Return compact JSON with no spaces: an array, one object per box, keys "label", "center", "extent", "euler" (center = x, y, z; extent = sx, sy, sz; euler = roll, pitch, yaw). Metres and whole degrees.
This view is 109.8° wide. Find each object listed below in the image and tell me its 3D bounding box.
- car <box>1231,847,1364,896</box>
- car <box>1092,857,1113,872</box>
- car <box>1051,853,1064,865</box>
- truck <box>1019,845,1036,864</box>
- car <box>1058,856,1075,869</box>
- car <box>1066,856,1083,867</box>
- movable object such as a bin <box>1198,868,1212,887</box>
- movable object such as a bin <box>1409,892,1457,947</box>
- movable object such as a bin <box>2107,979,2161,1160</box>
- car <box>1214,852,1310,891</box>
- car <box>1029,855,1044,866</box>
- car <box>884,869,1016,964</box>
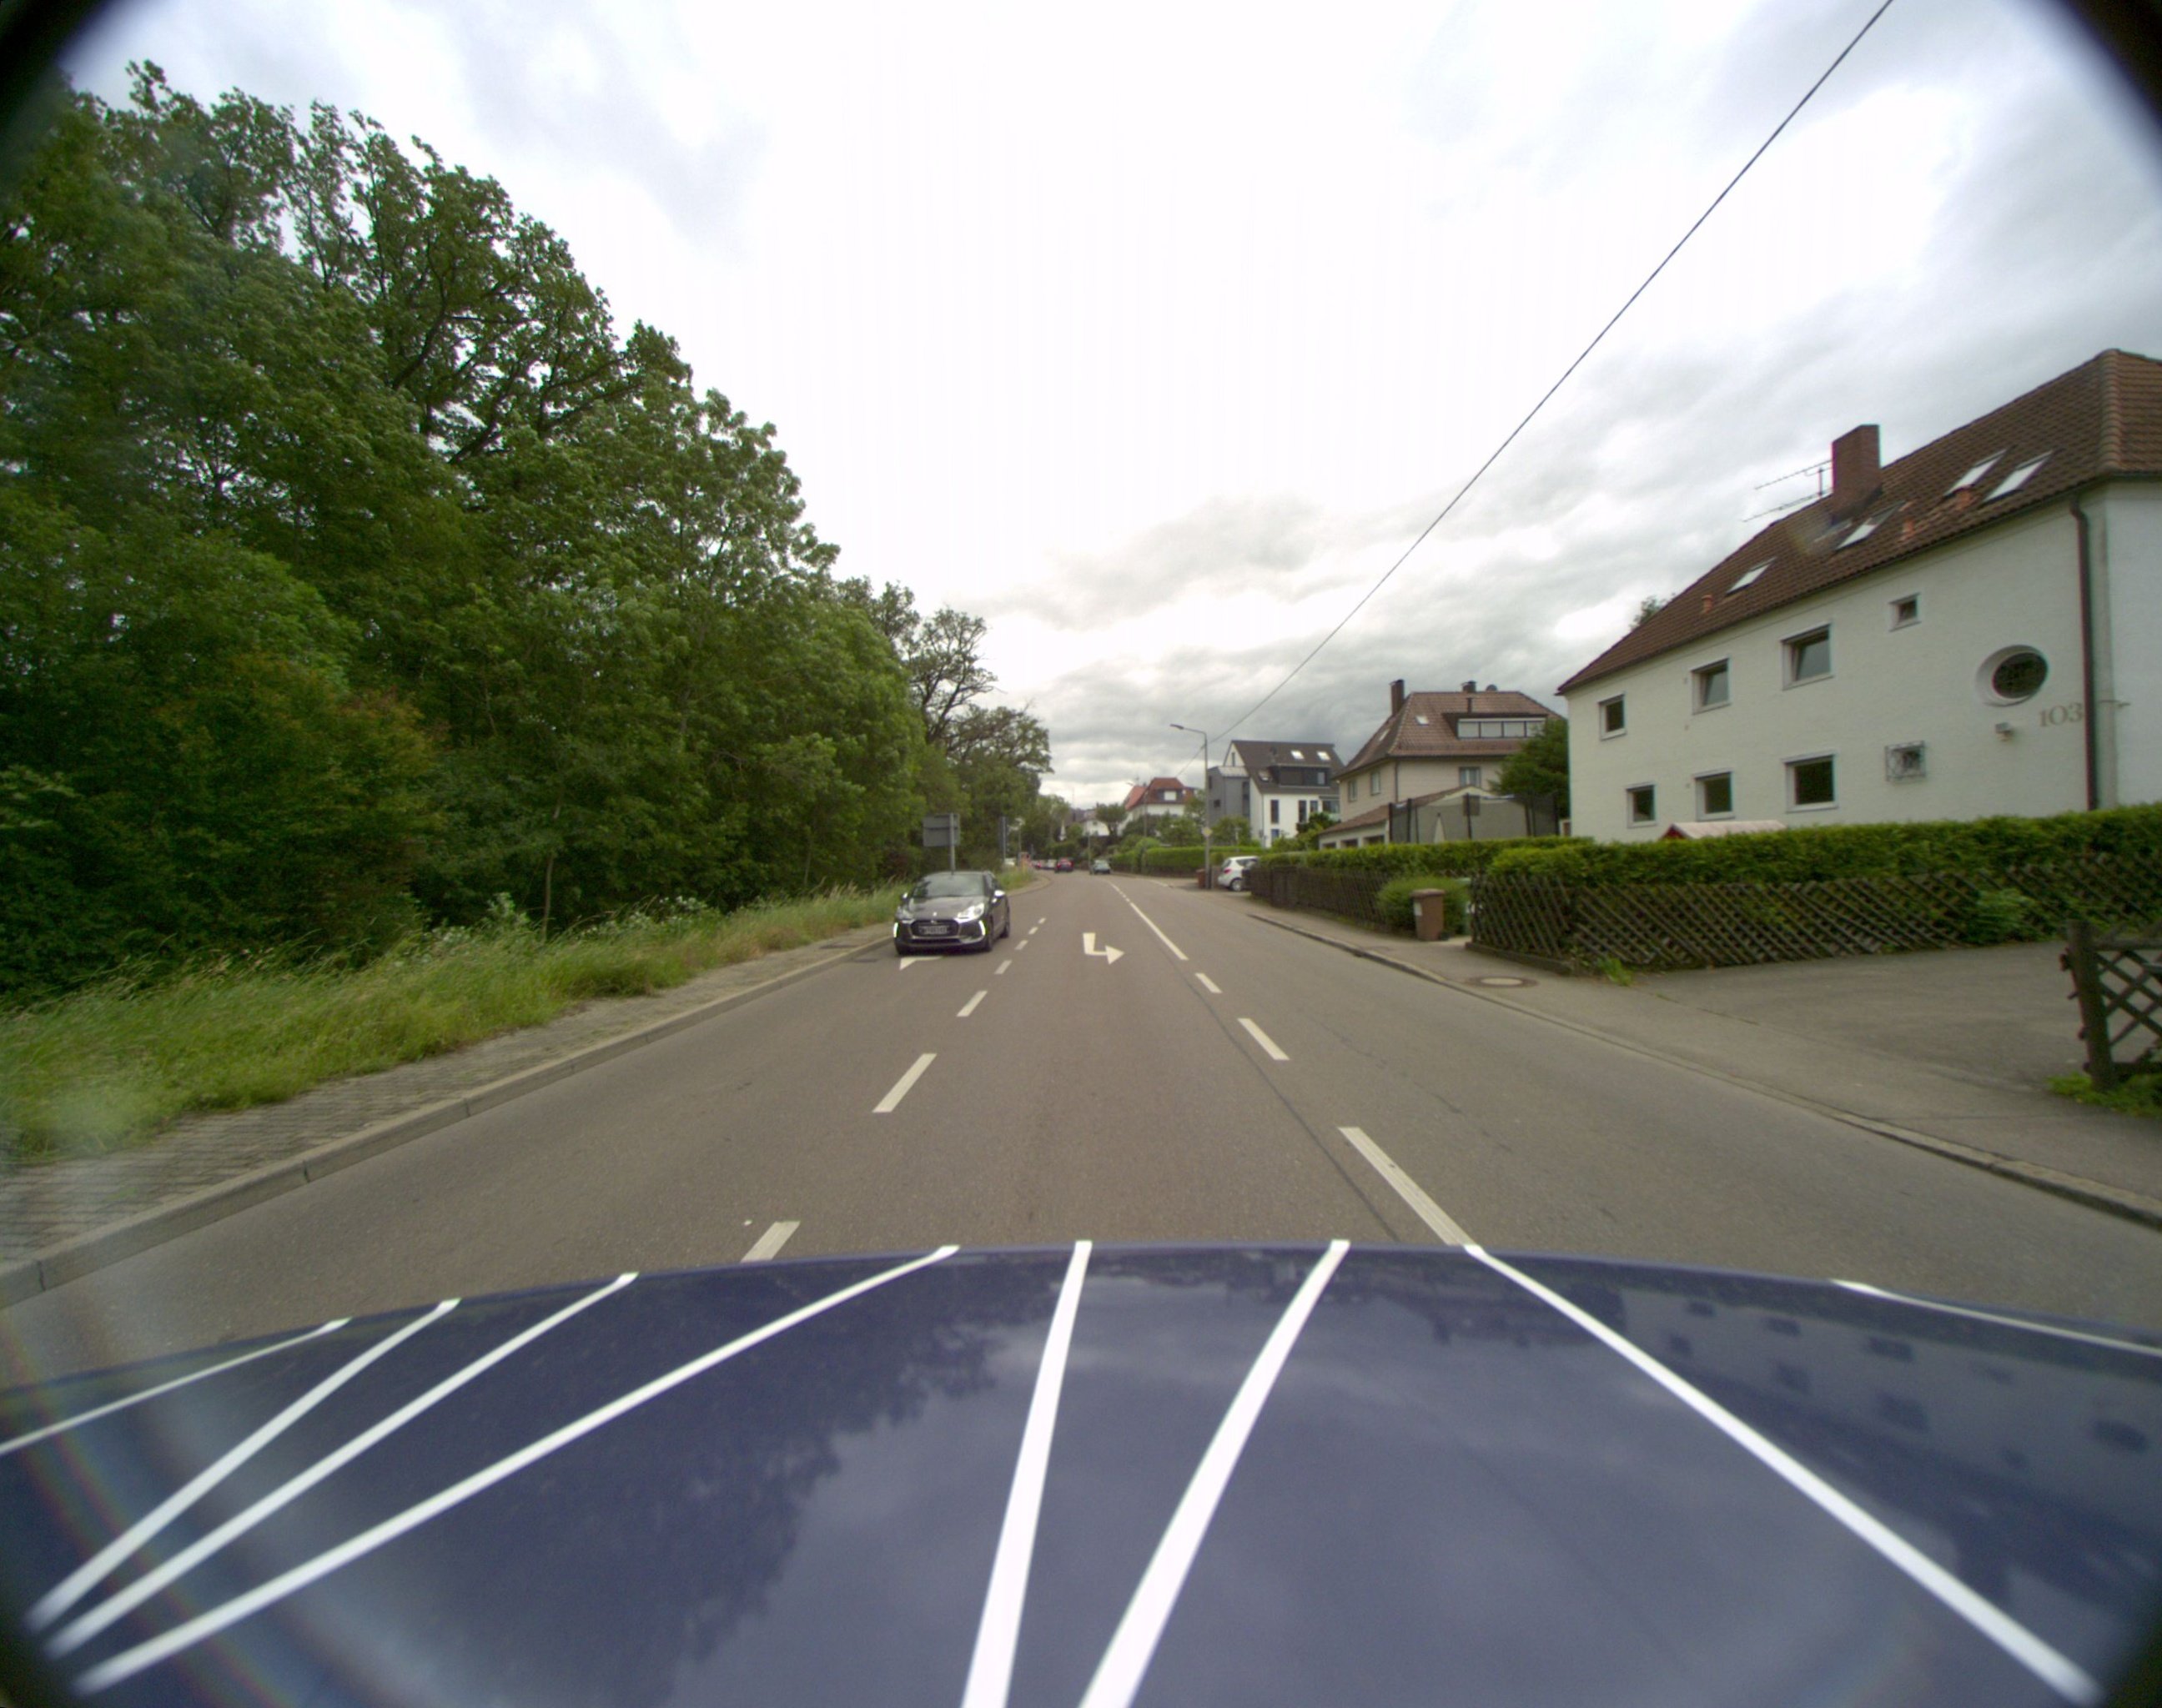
[{"label":"car","center":[8.583,0.679,30.375],"extent":[4.682,1.660,1.882],"euler":[-3,0,-1]},{"label":"car","center":[2.255,1.066,80.985],"extent":[1.840,1.514,3.998],"euler":[-1,0,-5]},{"label":"car","center":[-3.624,0.740,118.425],"extent":[1.833,1.665,3.997],"euler":[-1,1,-5]},{"label":"truck","center":[-10.801,0.123,152.657],"extent":[3.008,3.618,7.083],"euler":[-1,0,-8]},{"label":"car","center":[-1.865,1.019,95.291],"extent":[1.818,1.590,3.954],"euler":[-1,0,-5]},{"label":"car","center":[-0.924,1.029,105.301],"extent":[1.876,1.569,3.997],"euler":[-1,0,-7]},{"label":"movable object such as a bin","center":[6.283,1.199,38.635],"extent":[0.689,0.948,0.572],"euler":[-1,0,9]},{"label":"movable object such as a bin","center":[6.235,1.153,13.476],"extent":[0.634,0.907,0.561],"euler":[-2,0,11]},{"label":"movable object such as a bin","center":[6.058,1.167,4.012],"extent":[0.551,0.932,0.538],"euler":[-1,0,2]},{"label":"car","center":[8.415,0.793,35.547],"extent":[3.997,1.584,1.718],"euler":[-3,0,1]},{"label":"car","center":[-7.120,1.027,120.712],"extent":[2.000,1.749,3.996],"euler":[-1,0,-9]},{"label":"car","center":[-2.352,1.088,14.604],"extent":[1.730,1.449,3.855],"euler":[-2,0,2]}]
